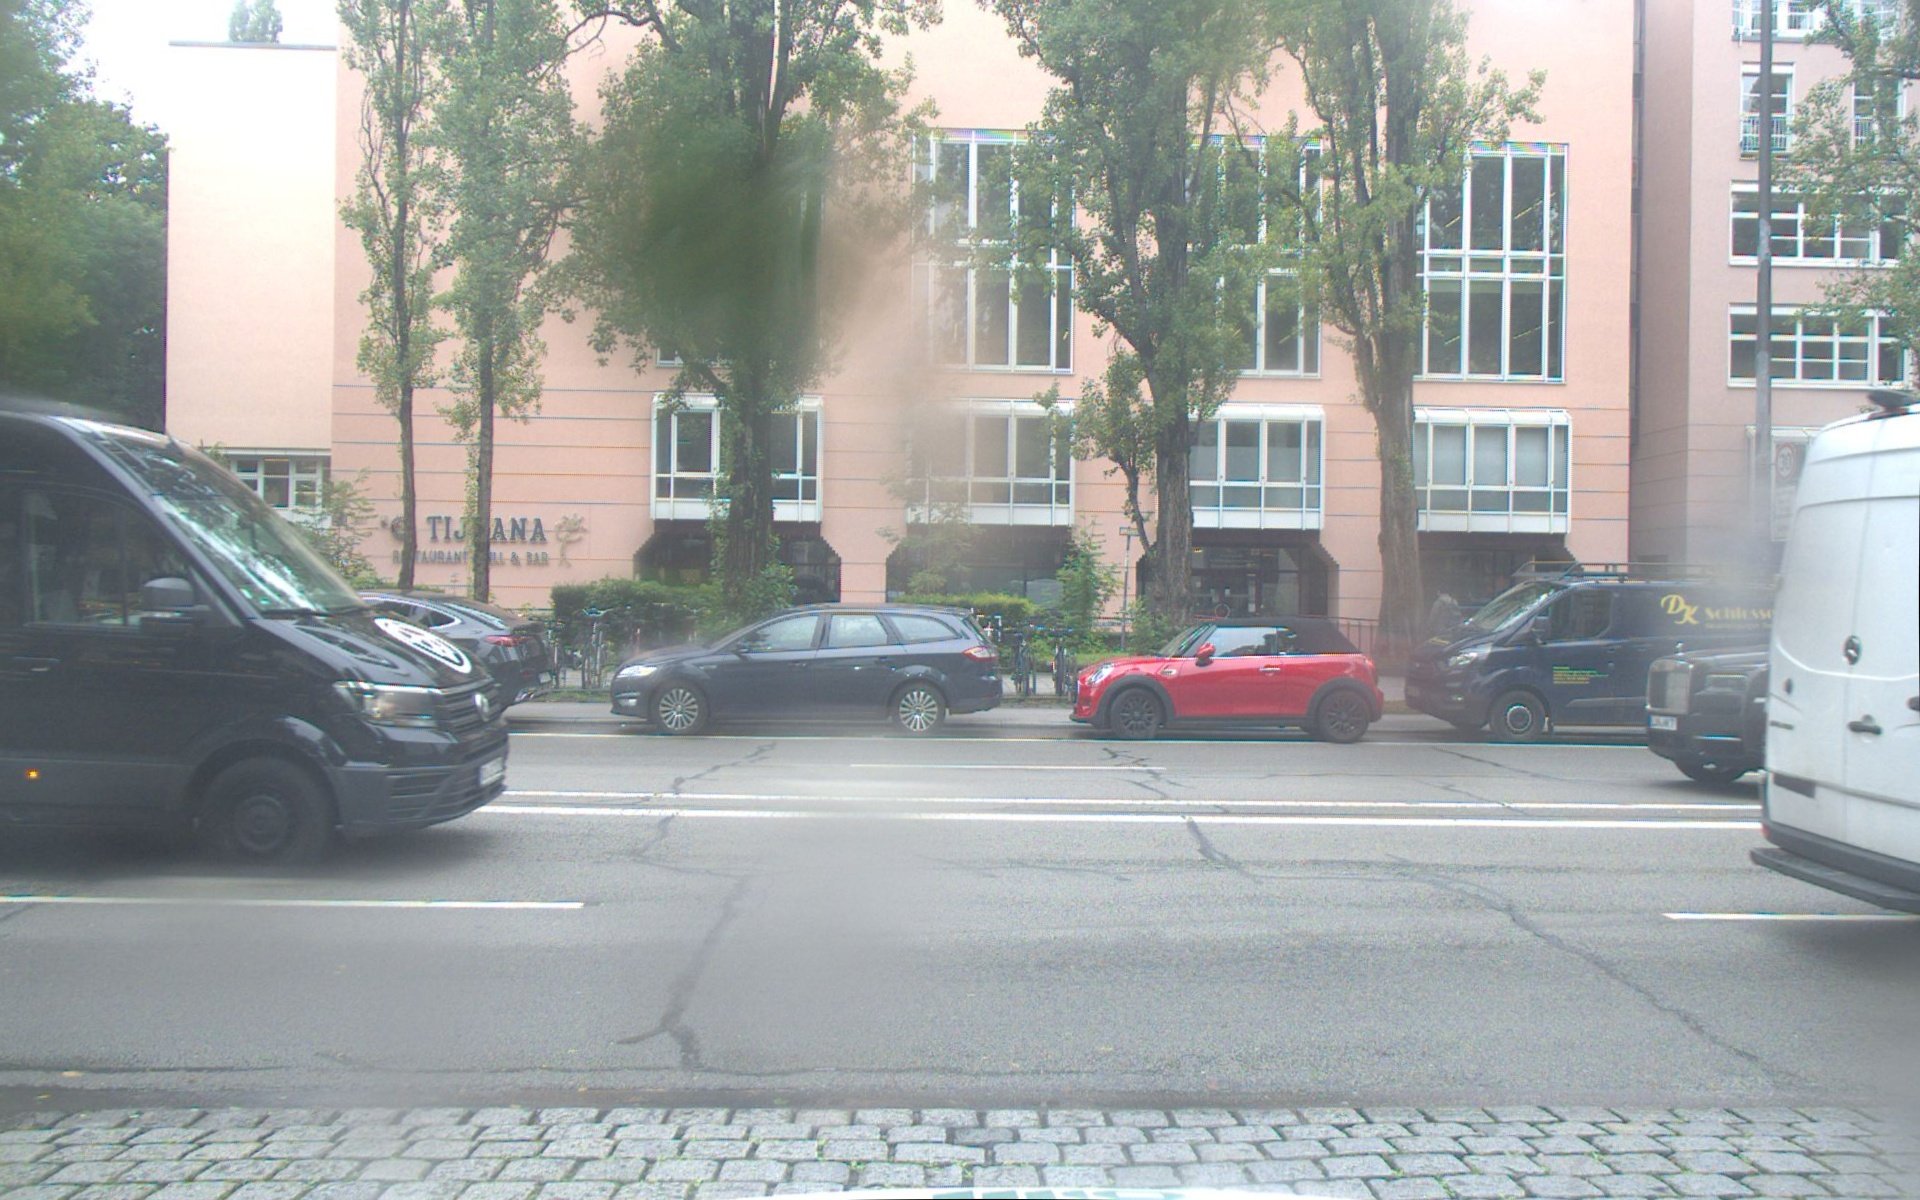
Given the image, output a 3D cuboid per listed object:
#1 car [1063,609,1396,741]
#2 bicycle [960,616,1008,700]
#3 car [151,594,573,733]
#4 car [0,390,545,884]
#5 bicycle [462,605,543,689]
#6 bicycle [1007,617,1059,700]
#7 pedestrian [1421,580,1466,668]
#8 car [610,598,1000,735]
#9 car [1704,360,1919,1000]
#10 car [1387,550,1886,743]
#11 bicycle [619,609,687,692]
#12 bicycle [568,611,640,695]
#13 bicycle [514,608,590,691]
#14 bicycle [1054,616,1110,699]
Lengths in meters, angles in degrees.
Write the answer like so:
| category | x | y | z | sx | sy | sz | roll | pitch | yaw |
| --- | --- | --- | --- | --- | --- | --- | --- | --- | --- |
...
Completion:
| category | x | y | z | sx | sy | sz | roll | pitch | yaw |
| --- | --- | --- | --- | --- | --- | --- | --- | --- | --- |
| car | 3.182 | 0.874 | 20.074 | 3.781 | 1.474 | 1.678 | 0 | 0 | 1 |
| bicycle | 0.340 | 0.834 | 24.396 | 0.660 | 1.144 | 1.741 | 0 | 1 | -1 |
| car | -7.066 | 0.727 | 19.888 | 4.409 | 1.555 | 1.793 | 0 | 0 | -2 |
| car | -5.587 | 0.163 | 9.709 | 5.794 | 2.600 | 2.082 | 0 | 2 | -3 |
| bicycle | -6.690 | 0.664 | 24.279 | 0.660 | 1.144 | 1.989 | 0 | 1 | -1 |
| bicycle | 1.069 | 0.839 | 24.417 | 0.660 | 1.144 | 1.741 | 0 | 1 | -1 |
| pedestrian | 9.795 | 0.480 | 33.514 | 0.692 | 1.743 | 0.732 | 1 | 0 | 1 |
| car | -1.813 | 0.775 | 20.101 | 4.515 | 1.555 | 1.793 | 0 | 0 | -2 |
| car | 6.972 | 0.309 | 7.932 | 5.900 | 2.698 | 2.046 | 0 | 2 | -2 |
| car | 8.228 | 0.546 | 20.456 | 5.368 | 2.235 | 2.023 | 0 | 0 | -2 |
| bicycle | -4.501 | 0.715 | 24.362 | 0.660 | 1.144 | 1.989 | 0 | 1 | -1 |
| bicycle | -5.219 | 0.753 | 24.349 | 0.660 | 1.144 | 1.989 | 0 | 1 | -1 |
| bicycle | -5.976 | 0.700 | 24.308 | 0.660 | 1.144 | 1.989 | 0 | 1 | -1 |
| bicycle | 1.786 | 0.827 | 24.451 | 0.660 | 1.144 | 1.729 | 0 | 1 | -1 |
